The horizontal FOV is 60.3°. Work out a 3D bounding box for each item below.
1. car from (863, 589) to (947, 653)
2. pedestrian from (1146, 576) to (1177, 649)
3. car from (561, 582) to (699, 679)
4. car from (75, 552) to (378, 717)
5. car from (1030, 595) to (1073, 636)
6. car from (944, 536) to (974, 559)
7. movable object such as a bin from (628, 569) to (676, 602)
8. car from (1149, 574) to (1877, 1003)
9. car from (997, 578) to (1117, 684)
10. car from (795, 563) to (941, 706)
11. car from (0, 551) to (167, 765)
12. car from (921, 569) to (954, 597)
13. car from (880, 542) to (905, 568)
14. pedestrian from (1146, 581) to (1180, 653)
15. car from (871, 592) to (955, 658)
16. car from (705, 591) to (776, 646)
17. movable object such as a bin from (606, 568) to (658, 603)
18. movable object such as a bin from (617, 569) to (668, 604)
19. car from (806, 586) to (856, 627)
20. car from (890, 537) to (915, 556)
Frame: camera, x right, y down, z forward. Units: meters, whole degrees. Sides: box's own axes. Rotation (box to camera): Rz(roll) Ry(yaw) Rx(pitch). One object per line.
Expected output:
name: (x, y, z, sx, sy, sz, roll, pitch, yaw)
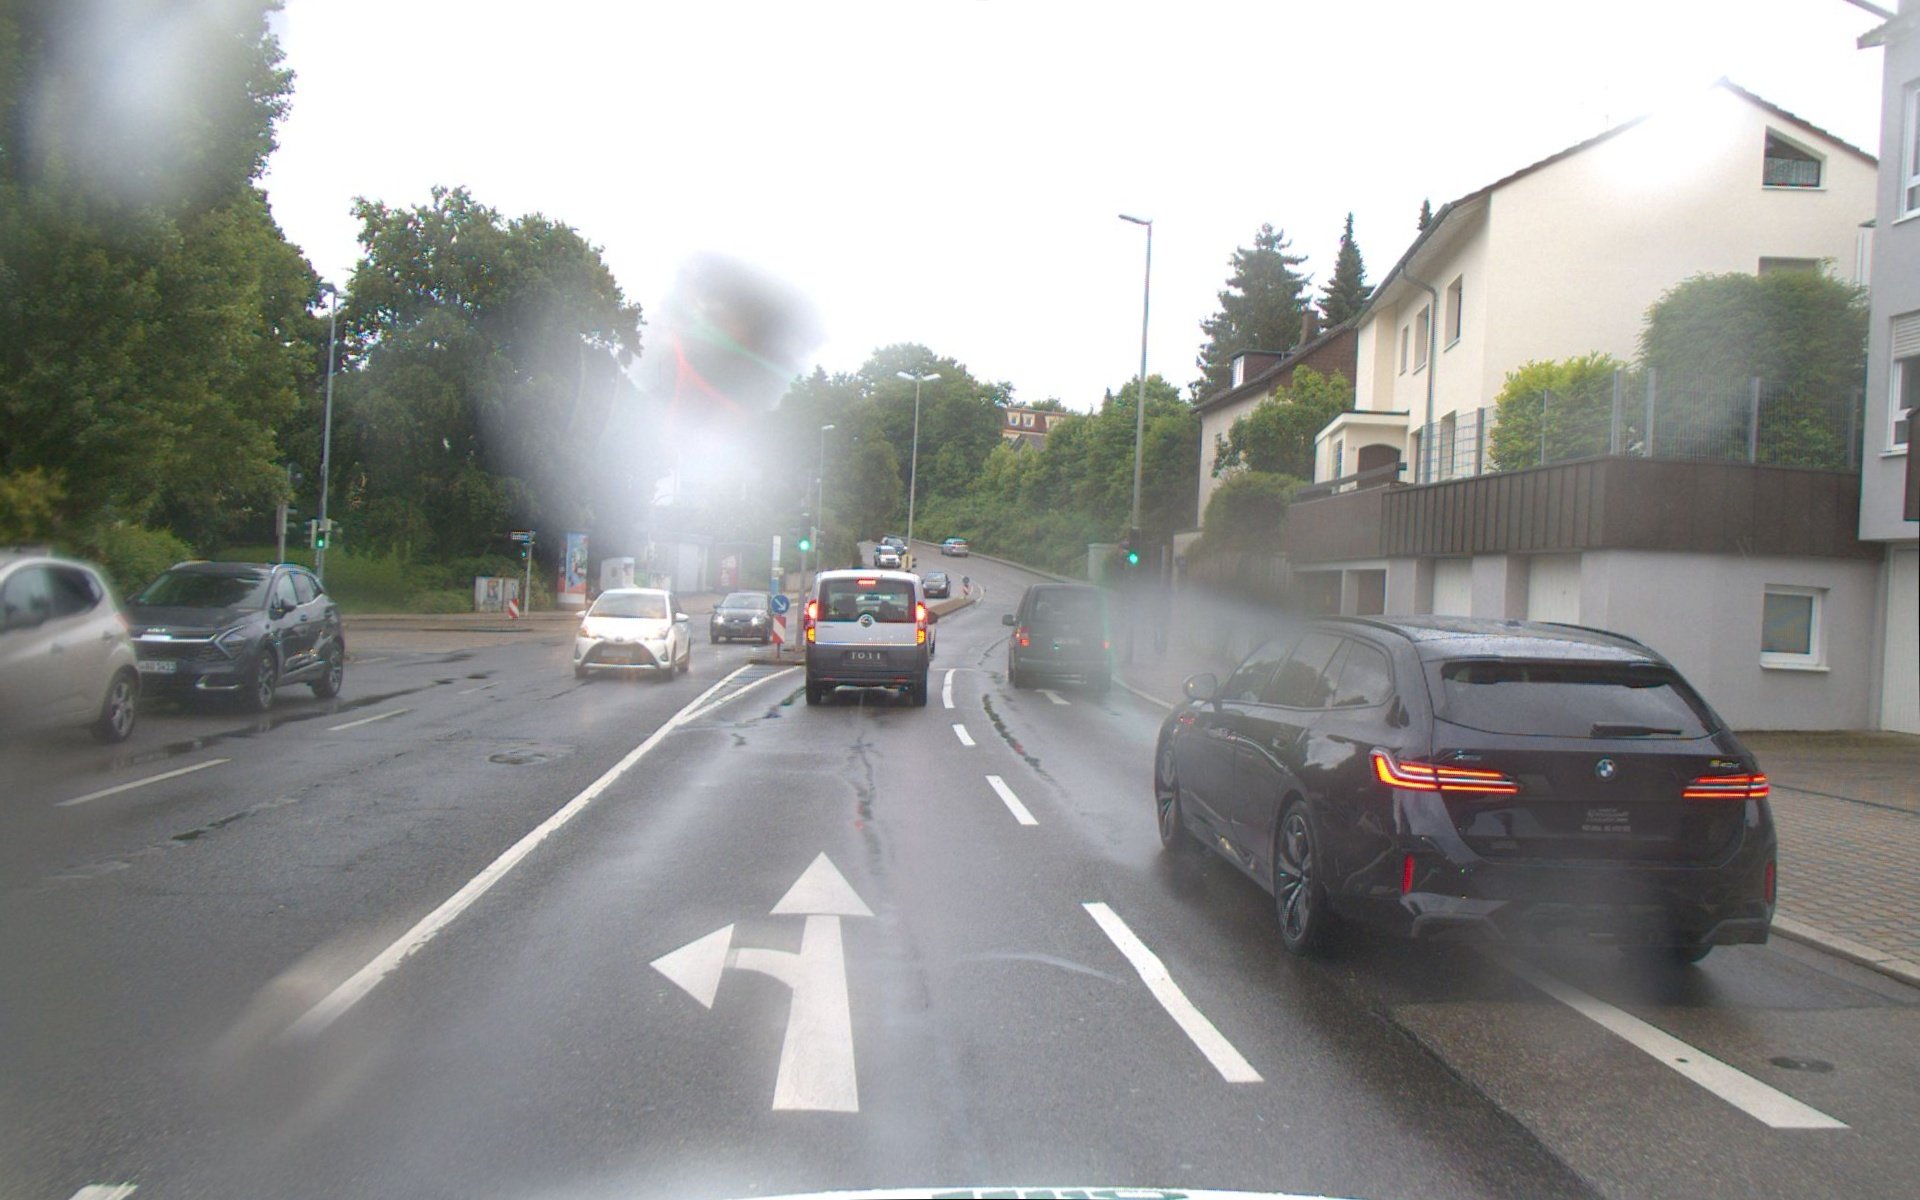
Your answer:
car: (-1.399, 0.533, 43.965, 1.868, 1.555, 4.653, 2, 0, 2)
pedestrian: (5.745, 0.358, 47.223, 0.780, 2.049, 0.734, 2, 0, 2)
car: (-5.717, 0.498, 29.114, 1.796, 1.557, 3.998, 1, 0, -3)
car: (-8.558, 0.378, 19.787, 1.769, 1.698, 4.595, 2, 0, -4)
car: (4.242, 0.679, 77.028, 1.813, 1.690, 4.001, 3, 2, 1)
car: (-0.116, -4.923, 155.894, 1.959, 2.049, 3.986, 1, 0, -13)
movable object such as a bin: (-15.257, -0.743, 81.931, 2.014, 1.541, 1.345, 1, 2, 7)
car: (2.407, 0.791, 8.653, 1.954, 1.614, 4.658, 1, -2, -4)
car: (1.702, 0.521, 30.277, 1.953, 1.779, 4.000, 1, 0, 0)
car: (-1.275, 0.462, 24.830, 1.911, 1.903, 4.746, 1, 0, 0)
car: (-8.090, 0.415, 13.119, 1.769, 1.596, 4.140, 2, 0, -4)
car: (-1.406, -1.063, 103.265, 1.953, 1.601, 3.998, 2, 0, -2)
car: (-5.730, -3.794, 139.739, 1.954, 2.049, 3.997, 1, 0, -4)
pedestrian: (5.146, 0.428, 42.020, 0.777, 1.811, 1.012, 0, 0, 2)
car: (-1.140, 0.594, 41.624, 1.797, 1.513, 4.060, 2, 0, 2)
car: (-6.512, 0.523, 49.415, 1.677, 1.529, 3.999, 2, 0, -2)
movable object such as a bin: (-15.639, -0.700, 78.879, 2.014, 1.596, 1.583, 1, 2, 7)
movable object such as a bin: (-15.456, -0.680, 80.470, 2.014, 1.596, 1.583, 1, 2, 7)
car: (-4.990, 0.222, 64.031, 1.817, 1.489, 3.996, 2, 0, -5)
car: (-5.263, -4.891, 151.231, 1.806, 1.579, 4.377, 1, 1, -8)
